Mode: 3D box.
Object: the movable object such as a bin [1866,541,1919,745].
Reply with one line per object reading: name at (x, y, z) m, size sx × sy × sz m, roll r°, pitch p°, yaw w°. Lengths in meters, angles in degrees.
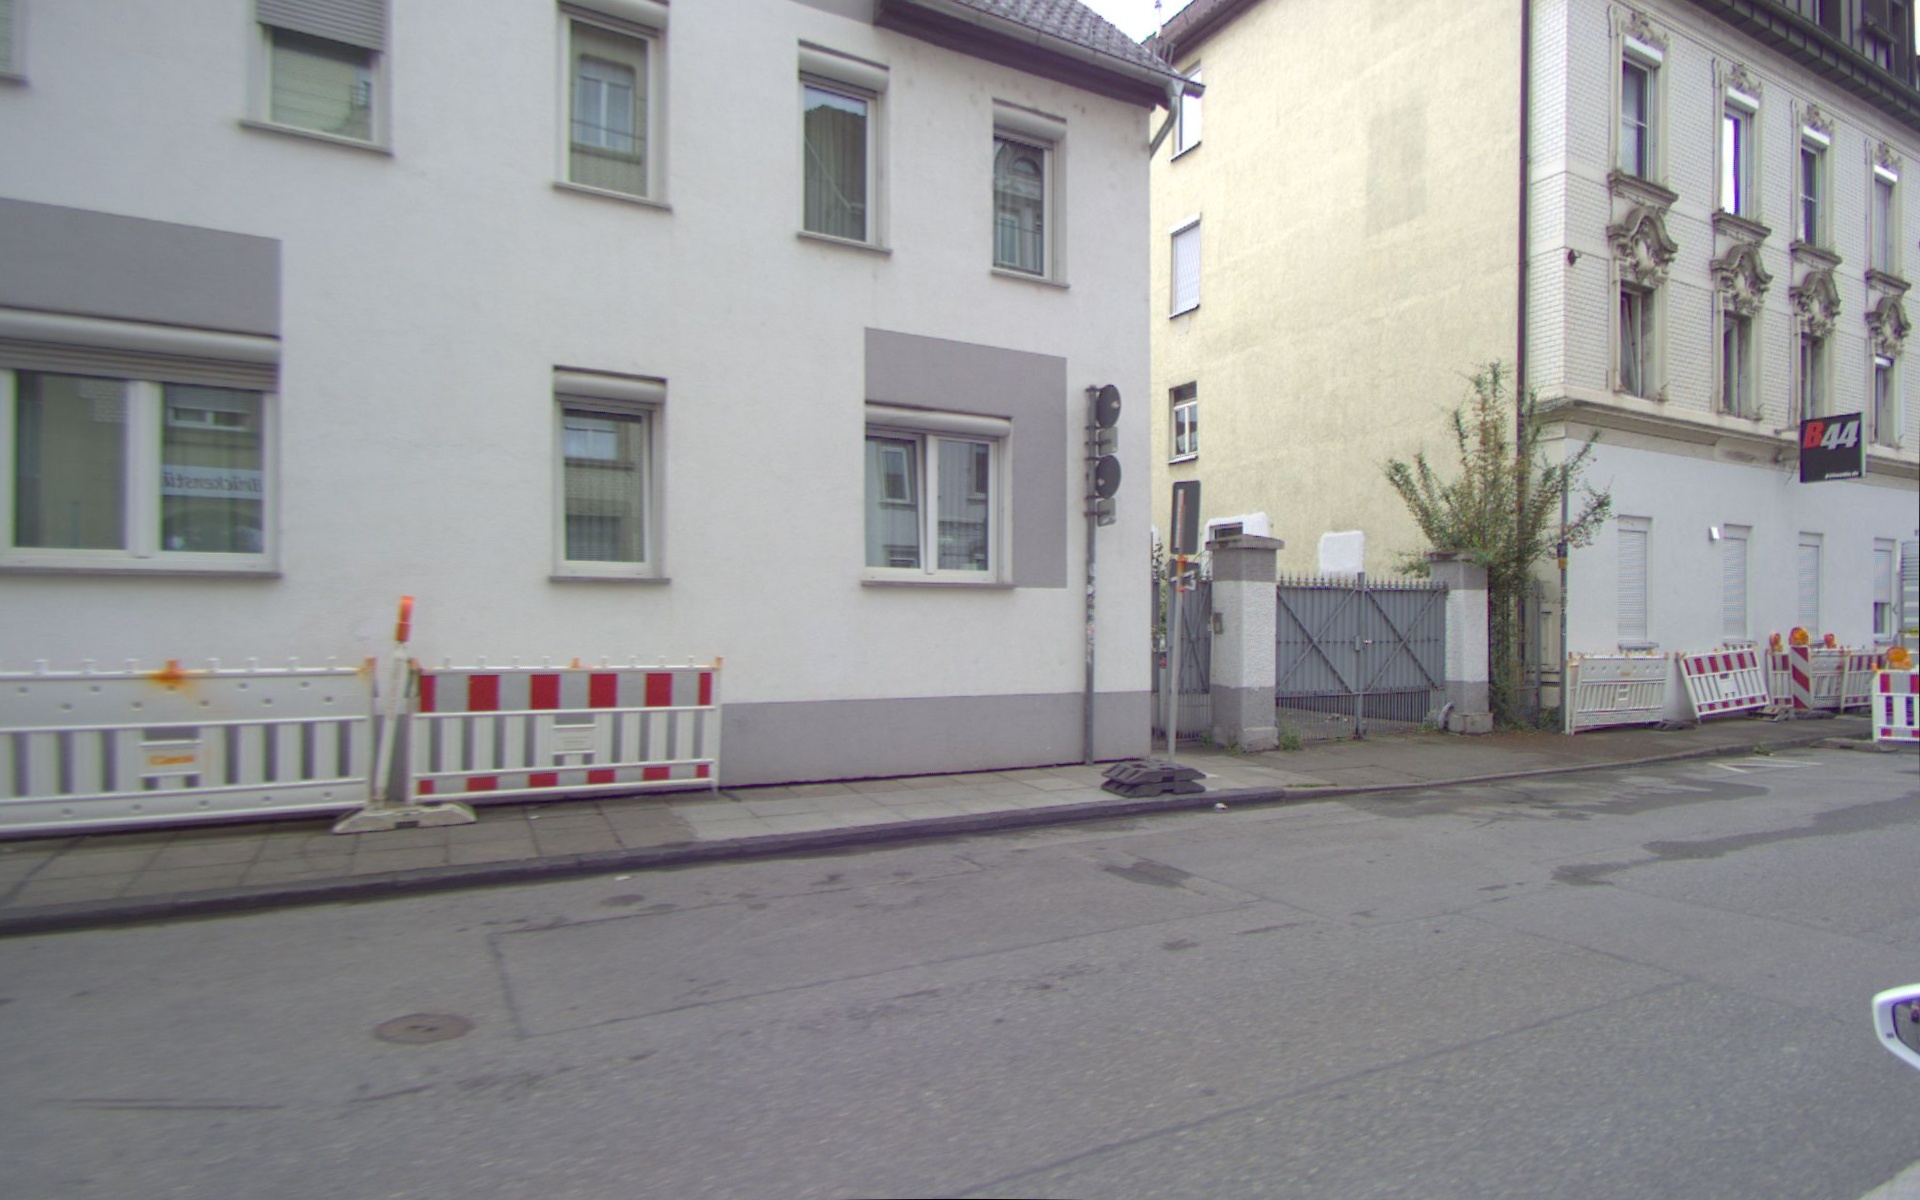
movable object such as a bin at (15.775, 0.606, 14.596) m, size 4.484 × 2.862 × 2.527 m, roll 1°, pitch -3°, yaw -29°
